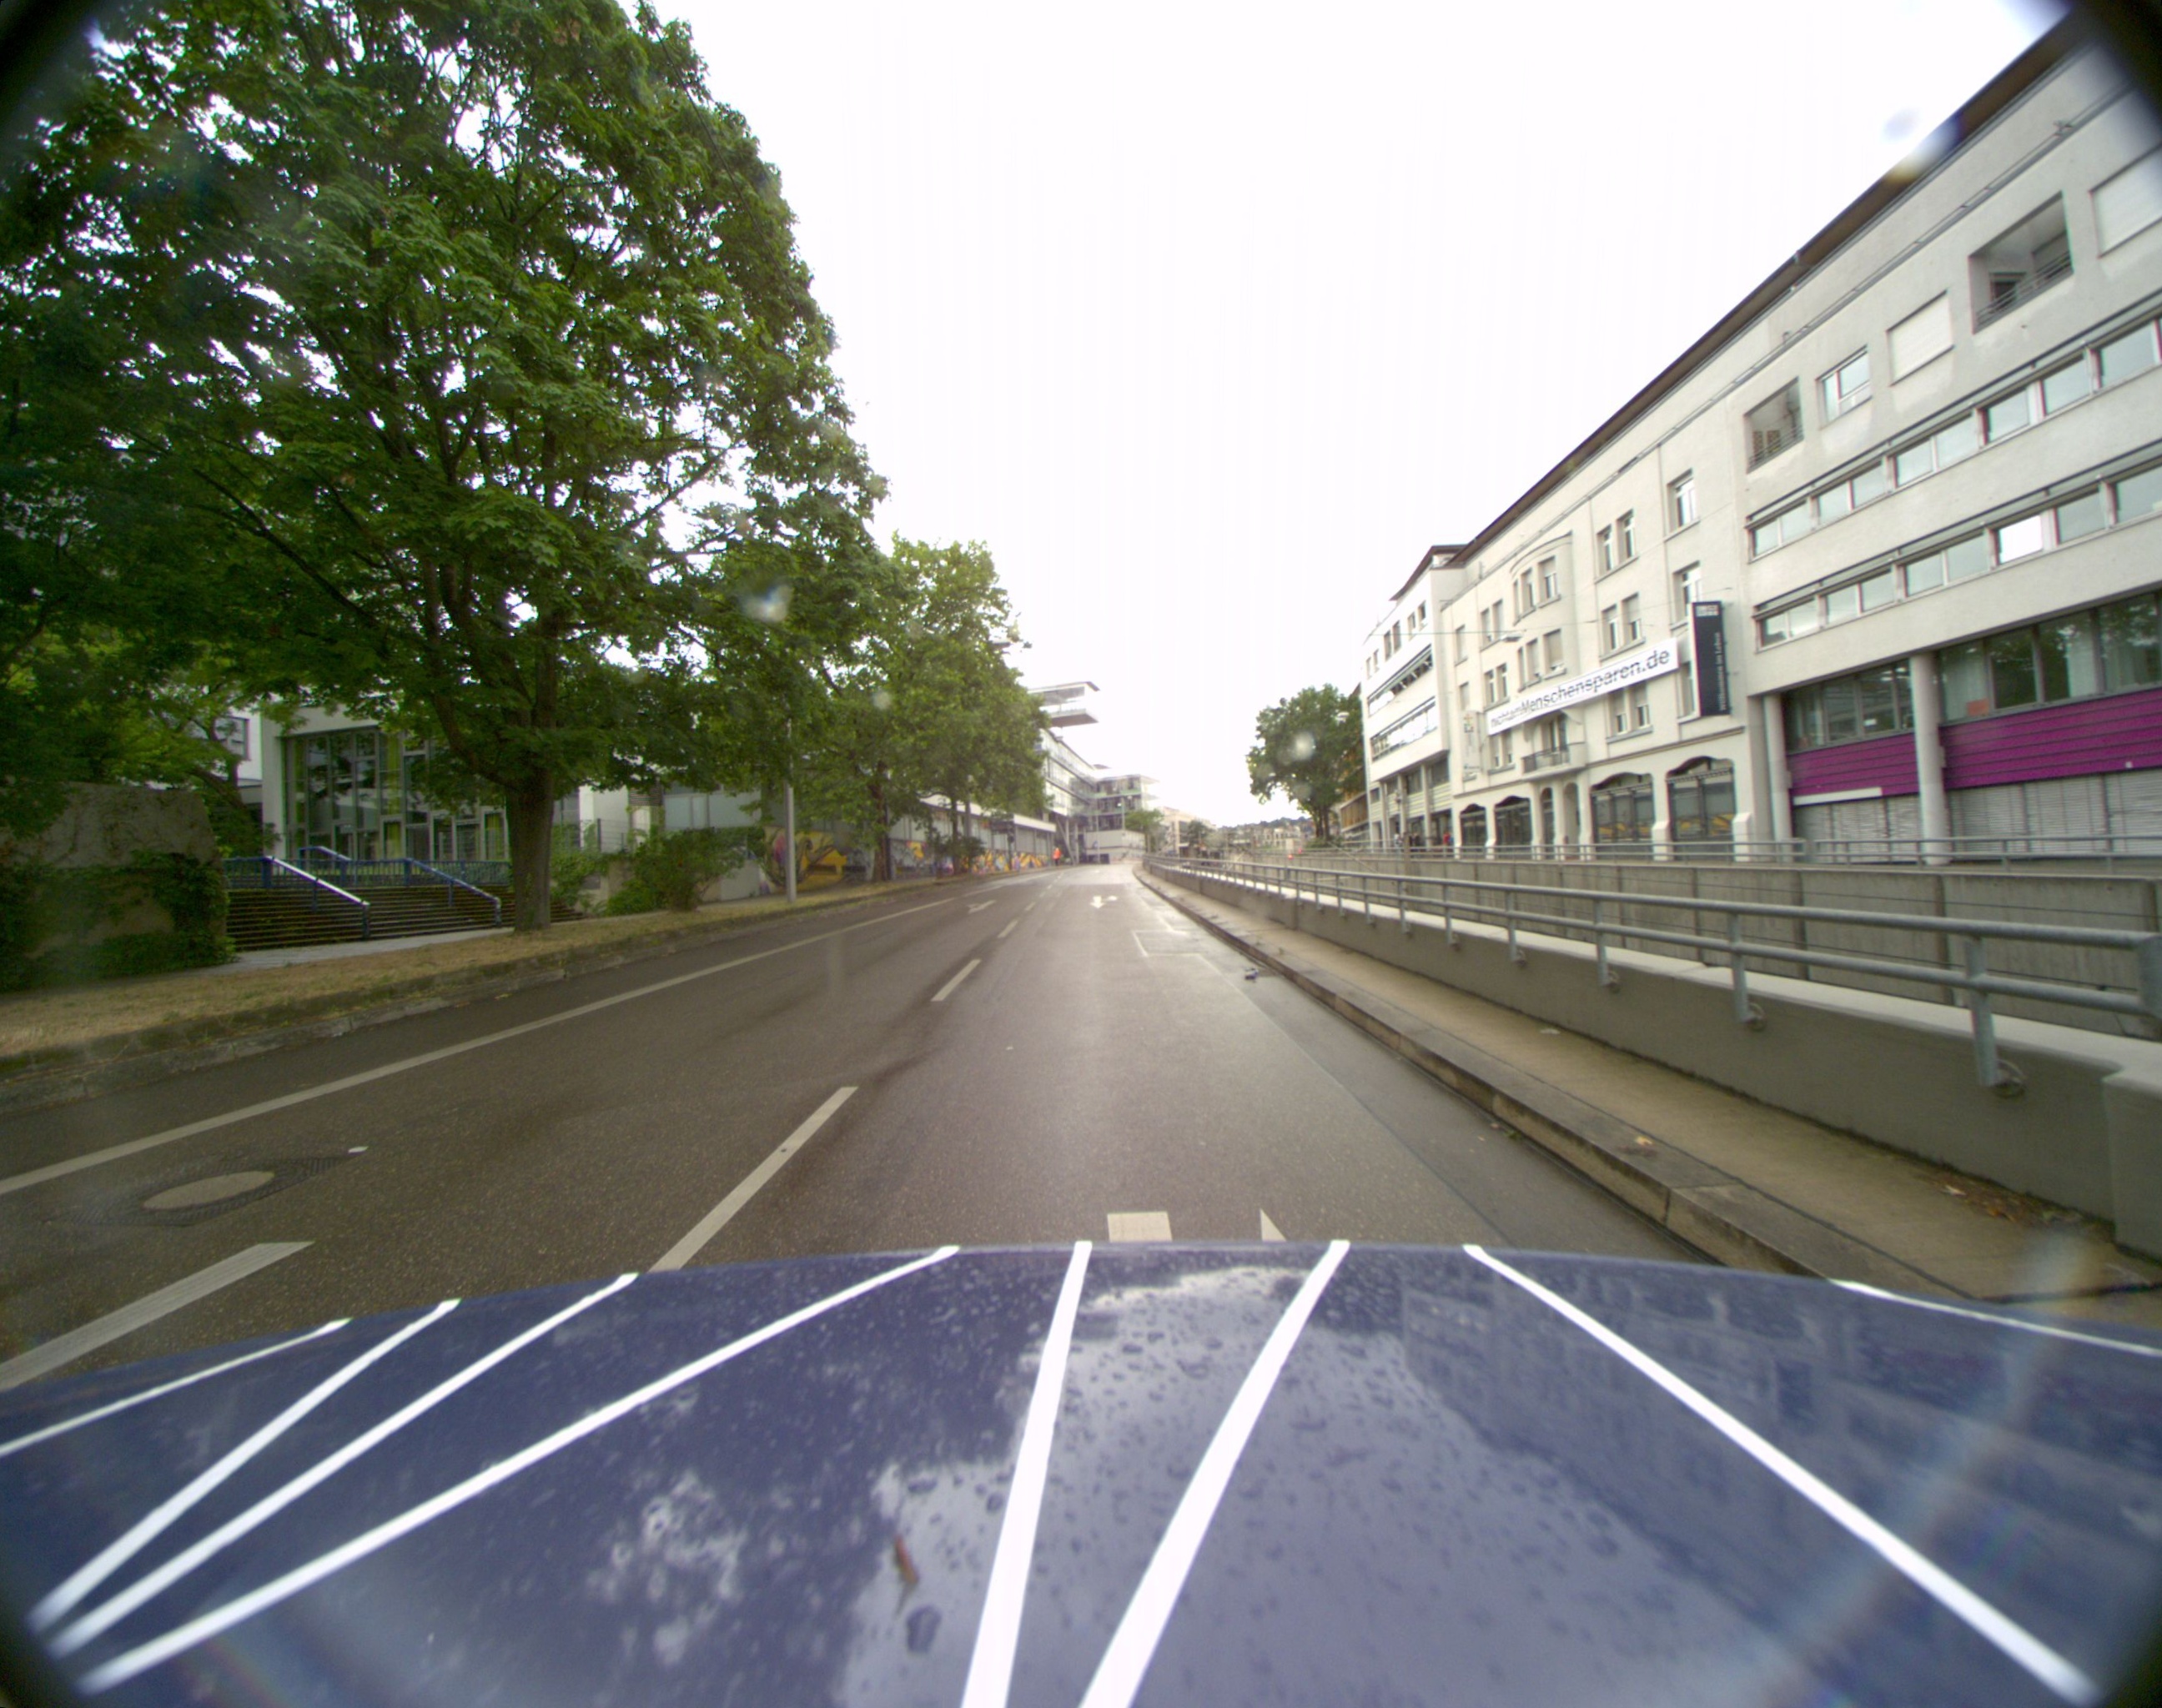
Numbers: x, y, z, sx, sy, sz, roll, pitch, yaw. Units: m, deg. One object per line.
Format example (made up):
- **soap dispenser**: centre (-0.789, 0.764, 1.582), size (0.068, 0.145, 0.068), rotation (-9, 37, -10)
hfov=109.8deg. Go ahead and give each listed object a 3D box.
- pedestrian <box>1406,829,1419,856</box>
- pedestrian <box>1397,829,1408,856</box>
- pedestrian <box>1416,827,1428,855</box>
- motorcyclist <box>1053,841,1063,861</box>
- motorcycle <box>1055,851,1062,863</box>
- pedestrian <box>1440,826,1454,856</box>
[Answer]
- **pedestrian**: centre (22.479, -0.780, 51.571), size (0.547, 1.792, 0.470), rotation (-4, 1, -7)
- **pedestrian**: centre (21.692, -0.806, 51.318), size (0.469, 1.792, 0.548), rotation (-4, 1, 8)
- **pedestrian**: centre (22.570, -0.855, 50.309), size (0.470, 1.792, 0.547), rotation (-4, 1, 3)
- **motorcyclist**: centre (-2.260, -0.300, 74.895), size (0.754, 2.002, 1.002), rotation (-4, 1, 9)
- **motorcycle**: centre (-2.215, 0.297, 74.910), size (0.469, 1.218, 1.019), rotation (-4, 0, 9)
- **pedestrian**: centre (22.824, -0.799, 47.370), size (0.470, 1.792, 0.547), rotation (-4, 1, 0)
